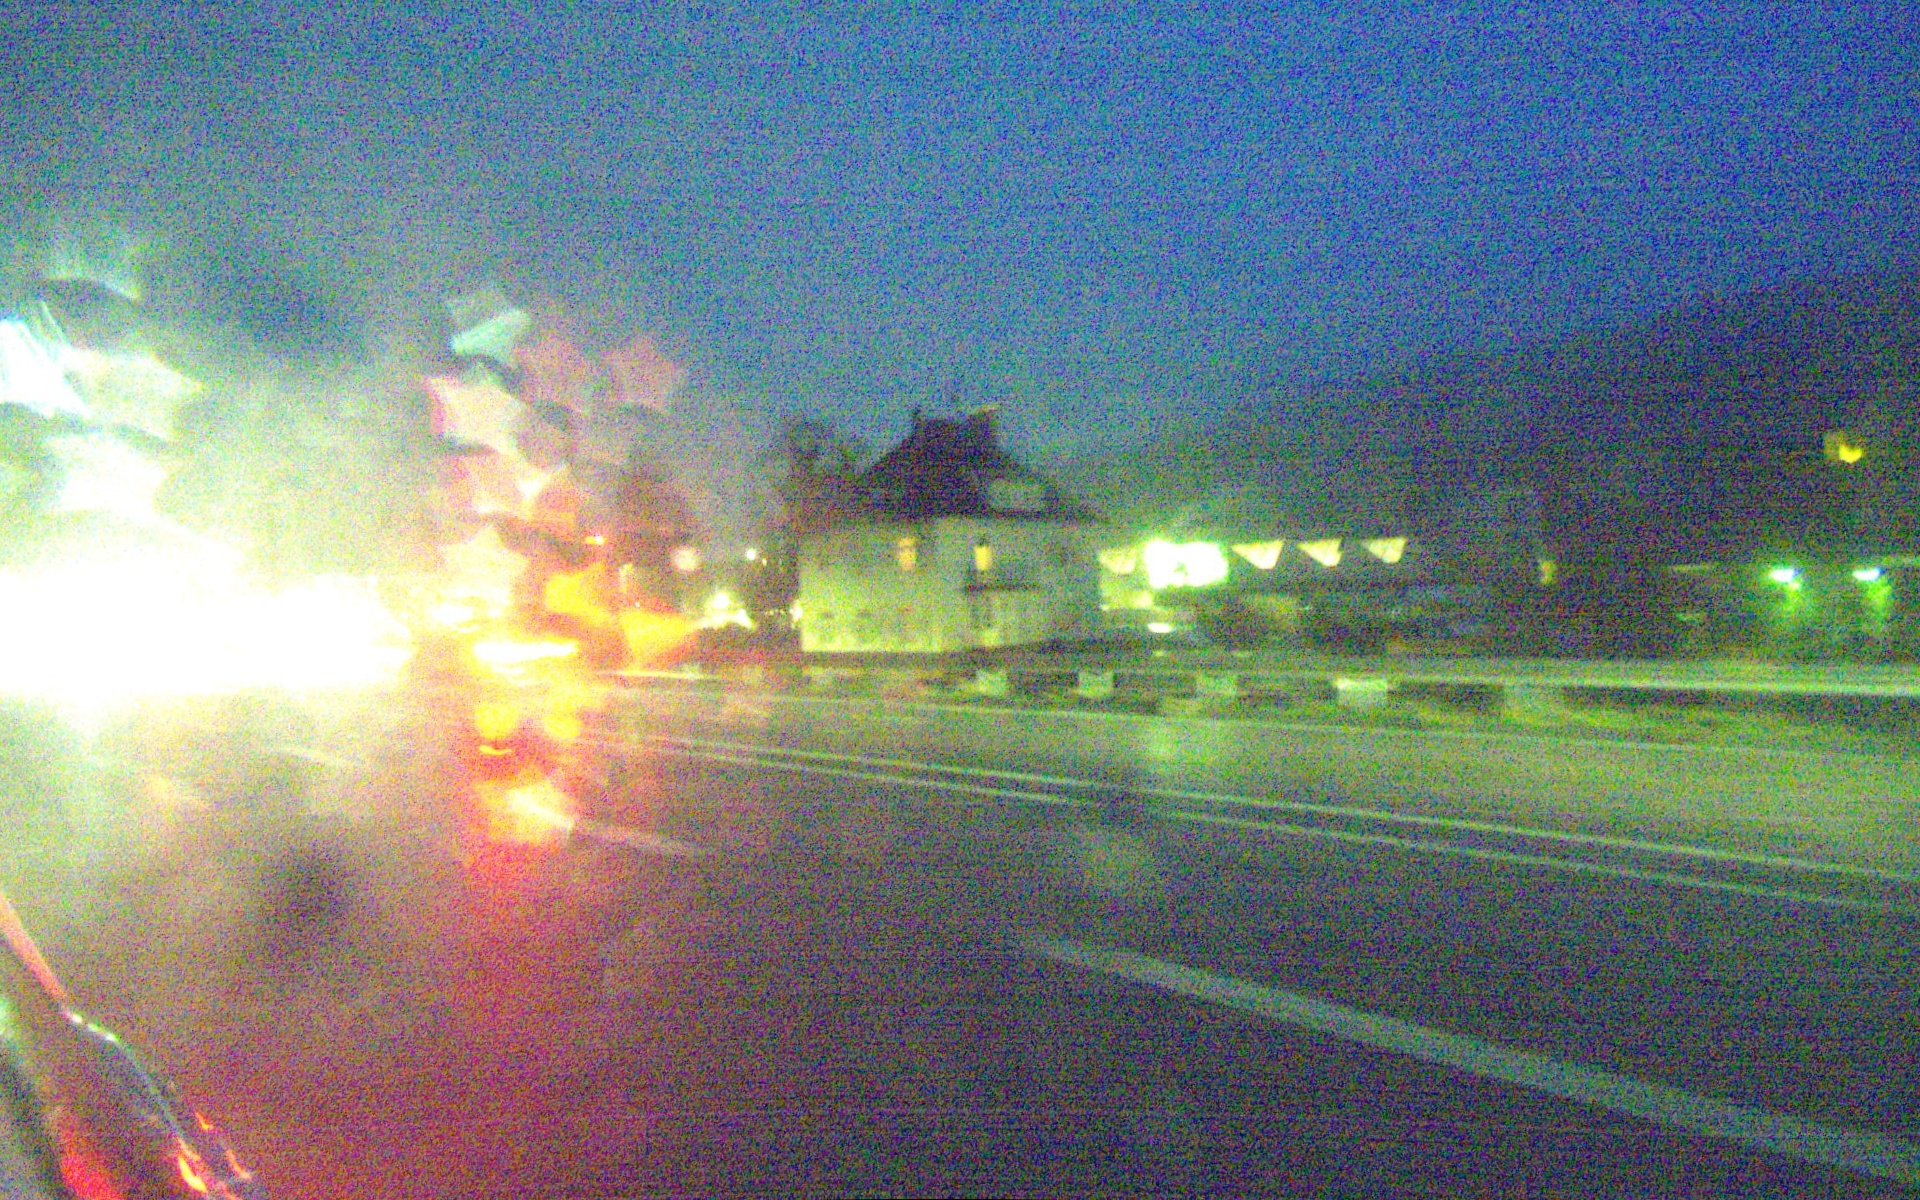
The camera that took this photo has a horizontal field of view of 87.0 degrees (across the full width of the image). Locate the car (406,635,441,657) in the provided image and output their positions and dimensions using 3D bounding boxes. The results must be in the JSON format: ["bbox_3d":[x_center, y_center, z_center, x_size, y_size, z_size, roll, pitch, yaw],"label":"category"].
[{"bbox_3d":[-52.263,4.464,98.619,1.970,2.029,4.003,-1,0,-44],"label":"car"}]

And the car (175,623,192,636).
[{"bbox_3d":[-133.997,5.096,174.722,1.966,2.090,4.011,-1,0,-32],"label":"car"}]

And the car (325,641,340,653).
[{"bbox_3d":[-98.339,7.342,158.619,1.783,1.582,4.306,-1,0,-28],"label":"car"}]

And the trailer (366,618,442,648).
[{"bbox_3d":[-98.599,5.831,179.725,3.338,4.832,11.392,-1,0,43],"label":"trailer"}]

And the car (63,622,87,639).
[{"bbox_3d":[-112.896,3.906,129.184,1.967,2.029,4.009,-1,0,-37],"label":"car"}]

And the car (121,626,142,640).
[{"bbox_3d":[-129.647,5.207,158.453,1.966,2.029,4.012,-1,0,-31],"label":"car"}]

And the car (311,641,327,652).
[{"bbox_3d":[-106.970,7.718,168.960,1.783,1.688,4.306,-1,0,-27],"label":"car"}]

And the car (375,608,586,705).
[{"bbox_3d":[-10.112,1.102,21.214,4.518,1.758,2.177,-1,0,38],"label":"car"}]

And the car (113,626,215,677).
[{"bbox_3d":[-27.408,1.727,34.819,3.894,1.612,1.863,-1,0,38],"label":"car"}]

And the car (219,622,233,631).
[{"bbox_3d":[-148.581,5.303,204.969,1.664,1.693,3.479,-1,0,-25],"label":"car"}]

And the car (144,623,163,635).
[{"bbox_3d":[-120.861,4.362,151.662,1.967,1.625,4.623,-1,0,-35],"label":"car"}]

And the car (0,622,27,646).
[{"bbox_3d":[-83.877,2.993,89.472,1.969,2.029,4.005,-1,0,-42],"label":"car"}]
